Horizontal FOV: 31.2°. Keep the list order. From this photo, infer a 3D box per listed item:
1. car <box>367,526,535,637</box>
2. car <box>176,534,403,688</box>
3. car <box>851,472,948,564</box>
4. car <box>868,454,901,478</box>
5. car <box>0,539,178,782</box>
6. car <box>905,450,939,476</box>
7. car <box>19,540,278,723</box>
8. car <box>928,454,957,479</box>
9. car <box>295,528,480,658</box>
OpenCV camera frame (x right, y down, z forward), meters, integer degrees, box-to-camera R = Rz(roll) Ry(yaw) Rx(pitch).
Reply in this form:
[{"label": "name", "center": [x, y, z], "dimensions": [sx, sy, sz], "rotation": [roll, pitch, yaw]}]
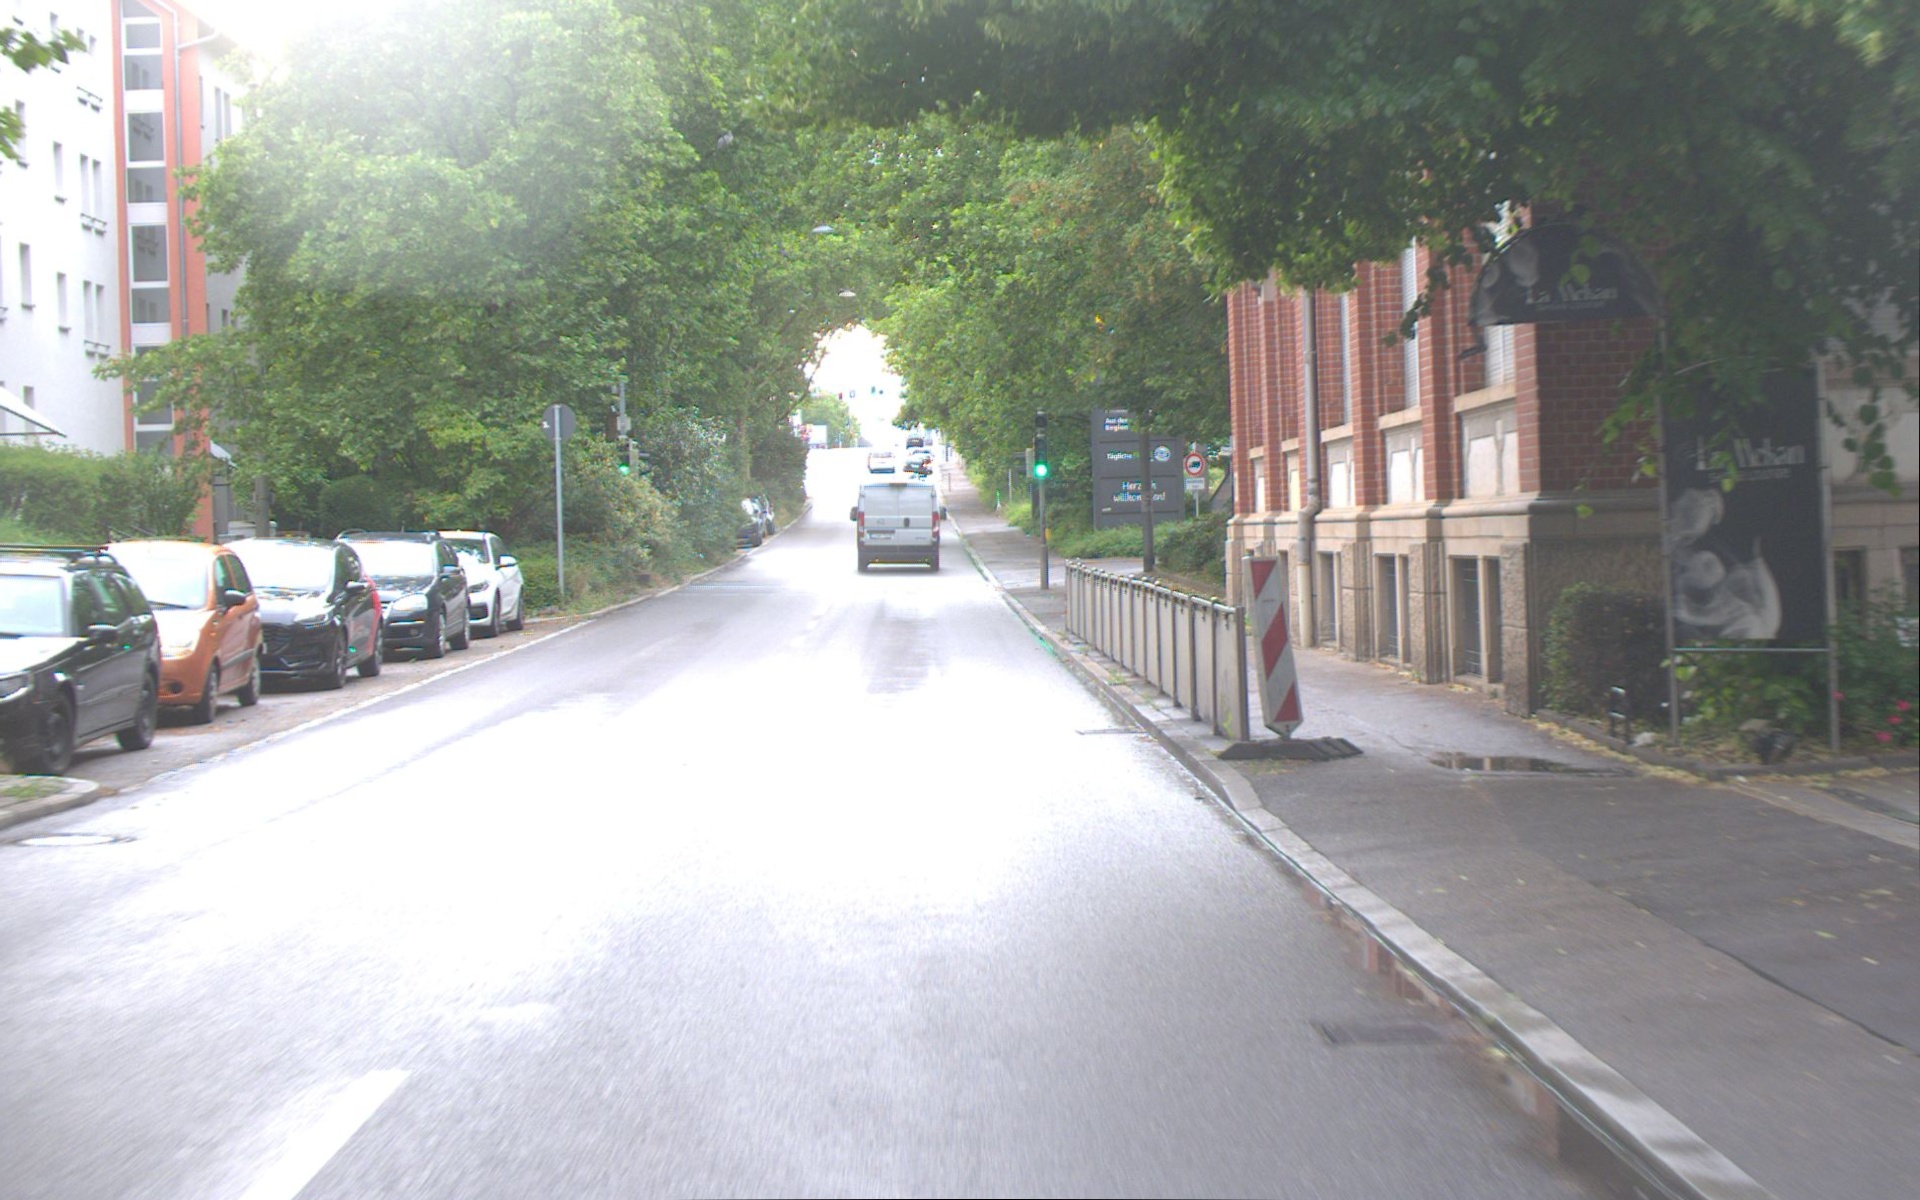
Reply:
[{"label": "car", "center": [-7.092, -0.296, 48.291], "dimensions": [1.717, 1.462, 4.310], "rotation": [0, 1, 0]}, {"label": "car", "center": [-6.828, 0.070, 35.320], "dimensions": [1.716, 1.462, 3.756], "rotation": [0, 1, -2]}, {"label": "car", "center": [-1.483, -2.025, 86.002], "dimensions": [2.336, 2.223, 4.000], "rotation": [1, 1, 0]}, {"label": "car", "center": [-5.651, -10.044, 257.720], "dimensions": [2.159, 1.703, 3.873], "rotation": [1, 1, 3]}, {"label": "car", "center": [-6.823, 0.351, 24.231], "dimensions": [1.716, 1.504, 4.805], "rotation": [0, 2, -3]}, {"label": "car", "center": [-2.756, -9.927, 249.503], "dimensions": [2.149, 1.703, 3.873], "rotation": [1, 1, 3]}, {"label": "car", "center": [-7.000, 0.226, 29.947], "dimensions": [1.555, 1.462, 3.397], "rotation": [0, 1, -2]}, {"label": "car", "center": [-1.309, -9.995, 257.589], "dimensions": [1.930, 1.703, 3.873], "rotation": [1, 1, 3]}, {"label": "car", "center": [-6.876, -0.126, 41.627], "dimensions": [1.716, 1.462, 4.234], "rotation": [0, 1, -3]}]
